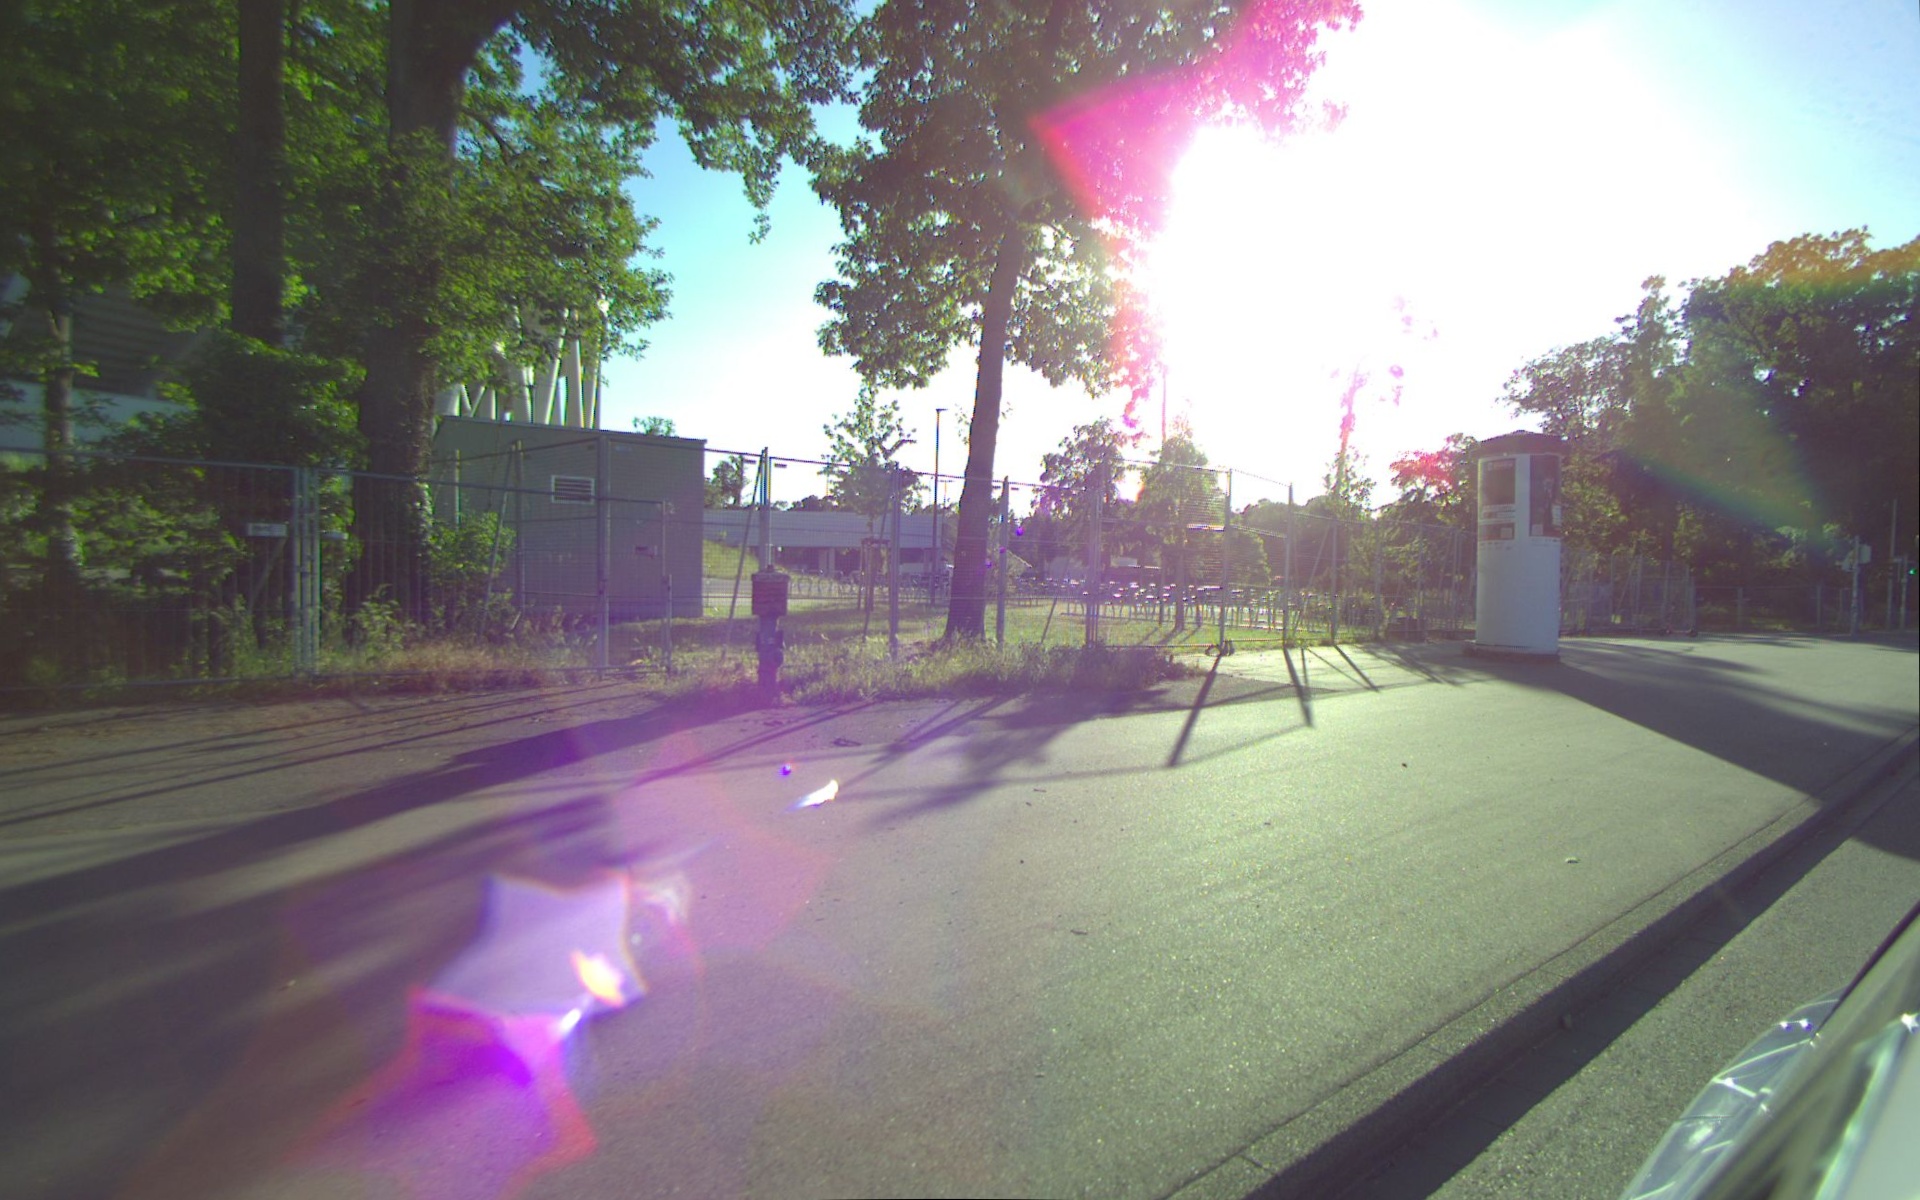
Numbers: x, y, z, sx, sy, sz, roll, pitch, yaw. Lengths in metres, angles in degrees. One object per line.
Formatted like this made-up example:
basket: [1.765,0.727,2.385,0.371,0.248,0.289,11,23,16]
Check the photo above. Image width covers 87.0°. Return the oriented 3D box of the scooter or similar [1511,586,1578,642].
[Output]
scooter or similar: [13.751,0.326,23.815,1.282,1.253,0.334,2,1,16]
